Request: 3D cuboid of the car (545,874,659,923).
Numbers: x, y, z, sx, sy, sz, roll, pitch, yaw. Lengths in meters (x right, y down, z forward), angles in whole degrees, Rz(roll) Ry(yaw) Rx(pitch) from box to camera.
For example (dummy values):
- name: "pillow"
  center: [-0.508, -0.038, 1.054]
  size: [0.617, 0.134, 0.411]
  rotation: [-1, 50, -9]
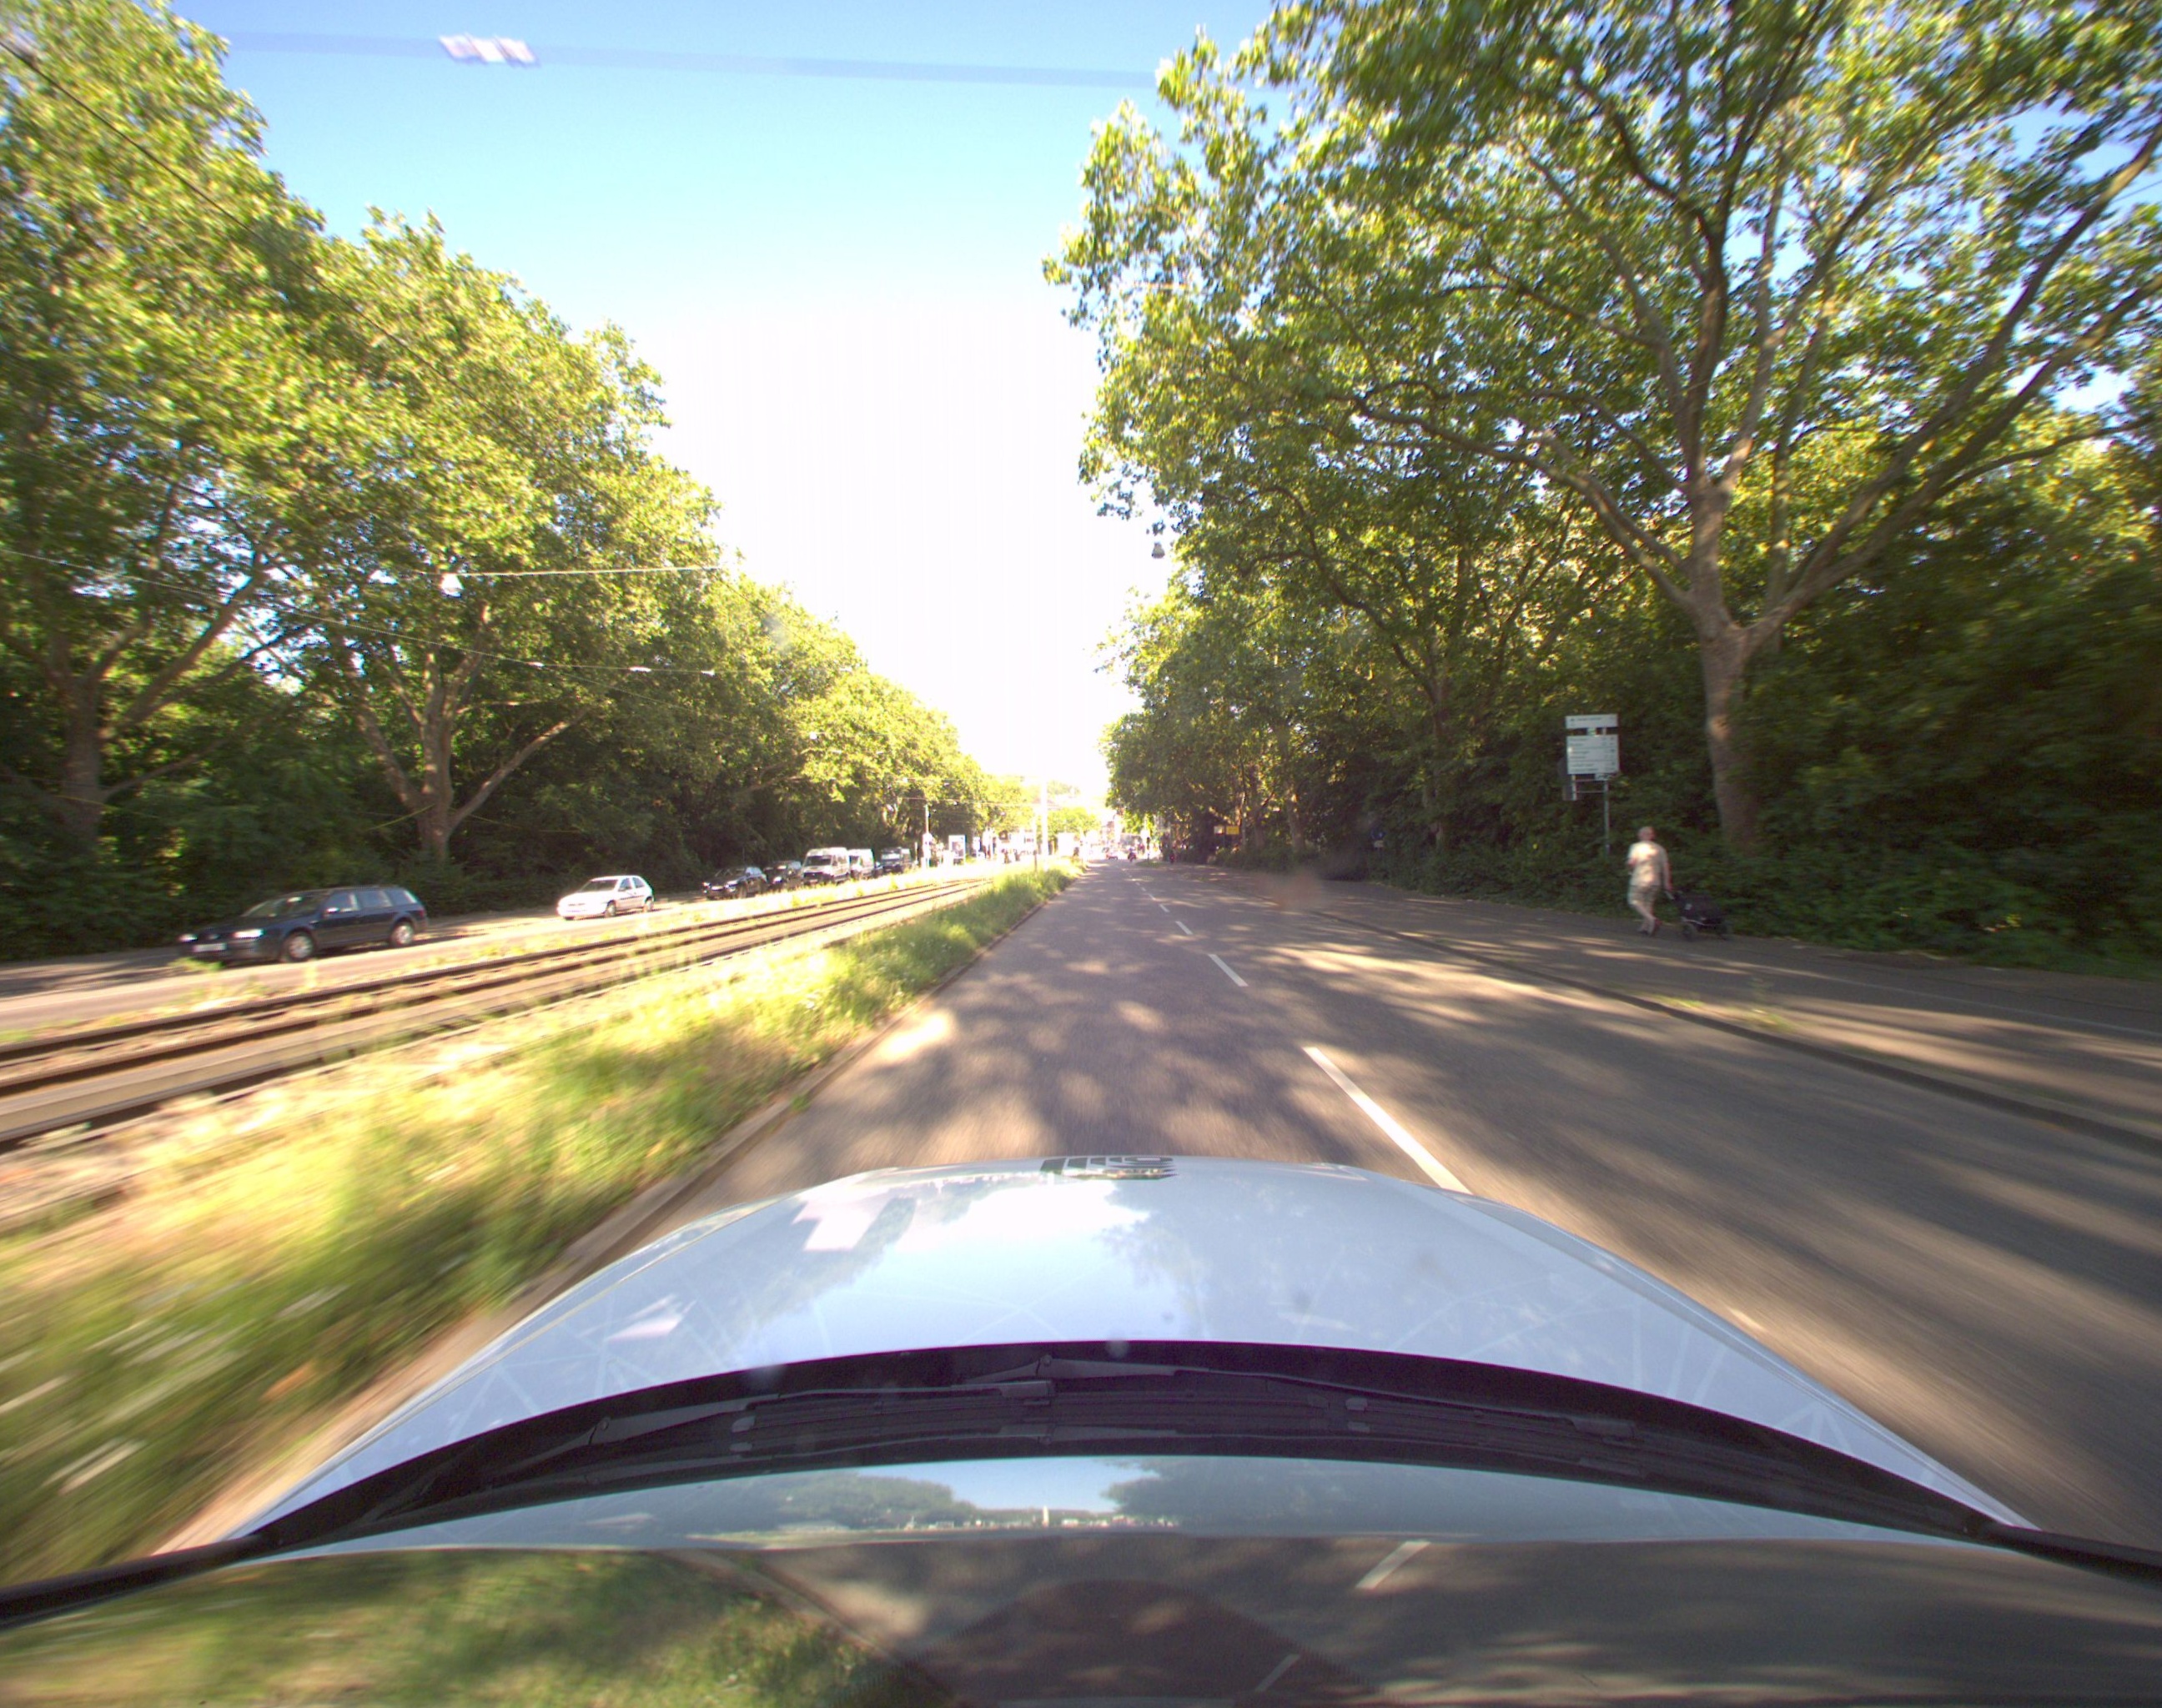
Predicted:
- name: "car"
  center: [-16.738, 1.497, 28.710]
  size: [1.734, 1.436, 3.849]
  rotation: [-3, 0, -2]

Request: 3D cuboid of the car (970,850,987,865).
- name: "car"
  center: [-16.409, 0.554, 130.003]
  size: [2.061, 2.124, 5.087]
  rotation: [-3, 0, -1]

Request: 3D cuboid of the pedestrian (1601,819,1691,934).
- name: "pedestrian"
  center: [8.547, 0.326, 12.355]
  size: [0.645, 1.635, 0.928]
  rotation: [-4, 0, 2]

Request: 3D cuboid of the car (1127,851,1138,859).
- name: "car"
  center: [10.001, 0.173, 158.730]
  size: [1.794, 1.439, 4.045]
  rotation: [0, 0, 0]

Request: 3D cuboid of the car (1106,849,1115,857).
- name: "car"
  center: [6.145, -0.288, 171.170]
  size: [1.794, 1.638, 4.044]
  rotation: [-1, 0, 0]

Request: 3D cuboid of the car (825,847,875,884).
- name: "car"
  center: [-17.556, 0.846, 62.312]
  size: [2.178, 2.520, 6.265]
  rotation: [-3, 0, -3]

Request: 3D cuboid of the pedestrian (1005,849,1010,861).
- name: "pedestrian"
  center: [-10.804, 0.159, 120.321]
  size: [0.645, 1.772, 0.650]
  rotation: [0, -1, 3]

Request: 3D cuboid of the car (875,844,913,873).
- name: "car"
  center: [-17.678, 0.440, 77.439]
  size: [2.177, 2.520, 6.029]
  rotation: [-3, 0, -1]

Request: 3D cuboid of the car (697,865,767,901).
- name: "car"
  center: [-17.030, 1.374, 39.920]
  size: [1.734, 1.555, 3.880]
  rotation: [-3, 0, -2]

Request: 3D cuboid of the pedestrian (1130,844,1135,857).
- name: "pedestrian"
  center: [7.591, -0.532, 121.046]
  size: [0.655, 1.871, 0.677]
  rotation: [-1, 0, 0]

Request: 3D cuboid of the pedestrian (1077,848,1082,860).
- name: "pedestrian"
  center: [-0.206, -0.022, 112.992]
  size: [0.740, 1.694, 0.791]
  rotation: [0, 0, 1]

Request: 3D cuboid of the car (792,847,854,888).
- name: "car"
  center: [-17.152, 0.873, 54.491]
  size: [2.177, 2.520, 6.046]
  rotation: [-3, 0, -2]

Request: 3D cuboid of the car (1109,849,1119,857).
- name: "car"
  center: [6.635, -0.162, 163.739]
  size: [1.923, 1.472, 4.854]
  rotation: [-1, 0, 0]

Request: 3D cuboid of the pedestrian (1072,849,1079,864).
- name: "pedestrian"
  center: [-0.601, 0.297, 89.320]
  size: [0.515, 1.568, 0.511]
  rotation: [-4, 0, 30]

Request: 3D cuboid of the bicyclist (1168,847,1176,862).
- name: "bicyclist"
  center: [9.501, 0.032, 84.835]
  size: [0.764, 1.513, 0.650]
  rotation: [-1, 0, 0]

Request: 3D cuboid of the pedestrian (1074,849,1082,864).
- name: "pedestrian"
  center: [-0.317, 0.299, 89.727]
  size: [0.515, 1.568, 0.511]
  rotation: [-4, 0, 30]

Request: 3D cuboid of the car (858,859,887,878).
- name: "car"
  center: [-17.737, 1.215, 69.370]
  size: [1.648, 1.512, 3.262]
  rotation: [-3, 0, -3]

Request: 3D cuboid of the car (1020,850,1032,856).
- name: "car"
  center: [-17.080, -0.387, 251.521]
  size: [1.777, 1.649, 4.035]
  rotation: [-1, 0, 29]

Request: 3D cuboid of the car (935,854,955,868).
- name: "car"
  center: [-16.805, 0.880, 100.639]
  size: [1.898, 1.652, 3.969]
  rotation: [-3, 0, -3]

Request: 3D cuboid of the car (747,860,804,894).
- name: "car"
  center: [-17.263, 1.251, 46.170]
  size: [1.734, 1.728, 3.880]
  rotation: [-3, 0, -2]

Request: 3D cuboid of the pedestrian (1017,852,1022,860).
- name: "pedestrian"
  center: [-10.254, 0.295, 136.195]
  size: [0.668, 1.324, 0.756]
  rotation: [-4, 0, -2]

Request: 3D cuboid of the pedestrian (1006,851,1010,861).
- name: "pedestrian"
  center: [-10.719, 0.268, 119.662]
  size: [0.591, 1.544, 0.627]
  rotation: [0, -1, 1]

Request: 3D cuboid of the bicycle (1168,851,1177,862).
- name: "bicycle"
  center: [9.503, 0.301, 84.831]
  size: [0.763, 1.107, 1.800]
  rotation: [-1, 0, 0]

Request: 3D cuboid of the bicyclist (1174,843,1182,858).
- name: "bicyclist"
  center: [11.193, -0.448, 93.969]
  size: [0.697, 1.728, 1.079]
  rotation: [-1, 0, -1]

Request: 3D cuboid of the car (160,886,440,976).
- name: "car"
  center: [-16.380, 1.536, 17.474]
  size: [1.822, 1.436, 4.321]
  rotation: [-3, 0, -2]

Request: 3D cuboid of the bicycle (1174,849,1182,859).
- name: "bicycle"
  center: [11.201, -0.042, 93.967]
  size: [0.697, 1.107, 1.929]
  rotation: [-1, 0, -1]

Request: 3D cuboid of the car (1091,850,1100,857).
- name: "car"
  center: [3.116, -0.159, 172.967]
  size: [1.802, 1.452, 3.999]
  rotation: [-1, 0, 0]
